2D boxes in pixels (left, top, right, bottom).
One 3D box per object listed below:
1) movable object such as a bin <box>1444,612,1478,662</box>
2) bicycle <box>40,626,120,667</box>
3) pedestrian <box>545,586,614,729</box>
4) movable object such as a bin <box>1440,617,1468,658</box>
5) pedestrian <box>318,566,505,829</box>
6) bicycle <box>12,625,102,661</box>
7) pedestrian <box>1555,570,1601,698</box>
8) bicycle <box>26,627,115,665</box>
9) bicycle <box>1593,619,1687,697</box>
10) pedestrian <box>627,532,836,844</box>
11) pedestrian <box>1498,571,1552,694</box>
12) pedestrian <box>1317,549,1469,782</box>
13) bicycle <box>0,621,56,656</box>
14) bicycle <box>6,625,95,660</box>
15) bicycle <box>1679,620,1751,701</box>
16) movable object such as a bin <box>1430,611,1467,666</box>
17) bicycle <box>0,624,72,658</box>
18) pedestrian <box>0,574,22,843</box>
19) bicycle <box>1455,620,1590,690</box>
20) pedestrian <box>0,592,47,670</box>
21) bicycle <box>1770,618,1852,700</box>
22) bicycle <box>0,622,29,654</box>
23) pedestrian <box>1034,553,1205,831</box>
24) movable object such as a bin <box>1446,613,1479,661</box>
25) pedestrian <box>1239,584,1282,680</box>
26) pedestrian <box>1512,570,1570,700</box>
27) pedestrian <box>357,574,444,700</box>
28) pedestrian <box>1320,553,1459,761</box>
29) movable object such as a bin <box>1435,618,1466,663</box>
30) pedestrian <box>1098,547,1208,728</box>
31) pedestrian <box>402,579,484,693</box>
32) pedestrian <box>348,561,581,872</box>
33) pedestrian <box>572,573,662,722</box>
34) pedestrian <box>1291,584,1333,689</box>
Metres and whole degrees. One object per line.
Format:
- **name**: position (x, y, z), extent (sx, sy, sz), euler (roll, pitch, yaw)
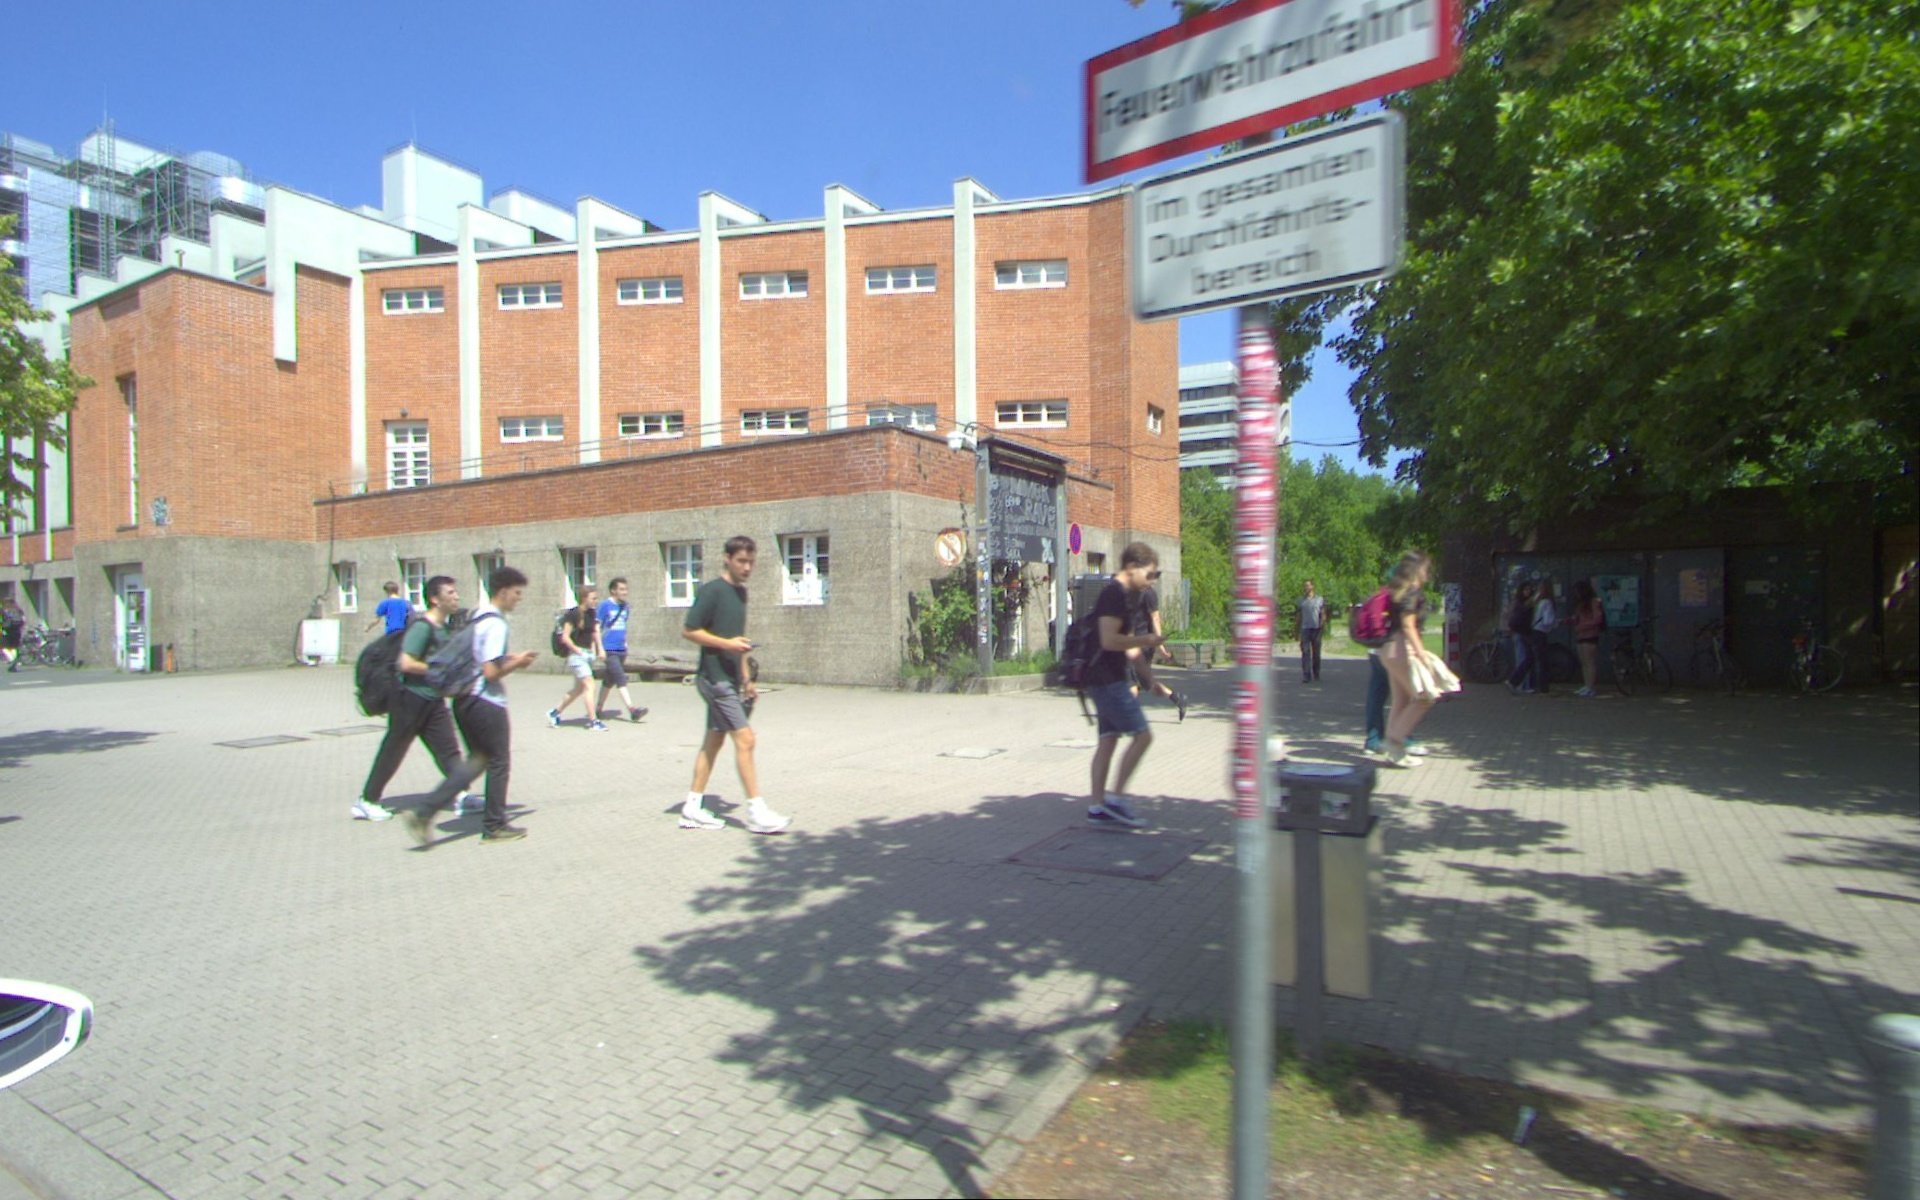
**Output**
- **movable object such as a bin**: position (13.660, 1.003, 27.275), extent (0.756, 1.337, 0.781), euler (1, 0, 32)
- **bicycle**: position (-23.959, 1.257, 27.286), extent (0.552, 1.047, 1.532), euler (0, 0, 31)
- **pedestrian**: position (-4.511, 0.673, 11.896), extent (0.561, 1.652, 0.502), euler (-1, 0, 21)
- **movable object such as a bin**: position (16.453, 1.233, 33.322), extent (0.756, 1.337, 0.781), euler (1, 0, 32)
- **pedestrian**: position (-3.840, 0.645, 7.094), extent (0.976, 1.743, 0.702), euler (-1, 1, -14)
- **bicycle**: position (-25.585, 1.199, 28.409), extent (0.552, 0.924, 1.806), euler (0, 1, 31)
- **pedestrian**: position (9.404, 0.511, 15.236), extent (0.523, 1.907, 0.445), euler (0, 0, 42)
- **bicycle**: position (-24.952, 1.271, 28.133), extent (0.551, 0.991, 1.781), euler (0, 0, 30)
- **bicycle**: position (10.396, 0.840, 15.267), extent (0.775, 1.085, 2.382), euler (-1, -1, 44)
- **pedestrian**: position (-1.455, 0.540, 6.530), extent (1.095, 1.884, 0.854), euler (0, 0, 7)
- **pedestrian**: position (8.954, 0.510, 15.883), extent (0.548, 1.908, 0.529), euler (-2, 1, 4)
- **pedestrian**: position (3.362, 0.475, 7.748), extent (0.935, 1.660, 0.873), euler (-2, 1, 31)
- **bicycle**: position (-28.844, 1.174, 30.512), extent (0.552, 0.998, 1.806), euler (0, 1, 31)
- **bicycle**: position (-26.180, 1.204, 28.868), extent (0.552, 0.924, 1.806), euler (0, 1, 31)
- **bicycle**: position (11.121, 0.846, 14.730), extent (0.773, 1.085, 2.387), euler (-1, -1, 38)
- **movable object such as a bin**: position (12.224, 0.953, 25.037), extent (0.756, 1.337, 0.781), euler (1, 0, 32)
- **bicycle**: position (-27.427, 1.199, 29.495), extent (0.552, 0.924, 1.806), euler (0, 1, 31)
- **pedestrian**: position (-6.703, 0.717, 6.325), extent (0.893, 1.763, 0.676), euler (-1, 1, -20)
- **bicycle**: position (9.695, 0.919, 17.309), extent (1.997, 1.155, 0.572), euler (-1, -1, 32)
- **pedestrian**: position (-23.131, 0.752, 24.590), extent (1.100, 1.884, 0.788), euler (0, 0, 33)
- **bicycle**: position (12.226, 0.821, 14.355), extent (0.775, 1.085, 2.383), euler (-1, -2, 43)
- **bicycle**: position (-30.537, 1.215, 31.445), extent (0.552, 0.998, 1.806), euler (0, 1, 31)
- **pedestrian**: position (0.978, 0.530, 6.305), extent (0.815, 1.617, 0.849), euler (-1, 1, -12)
- **movable object such as a bin**: position (14.339, 1.054, 28.567), extent (0.756, 1.337, 0.781), euler (1, 0, 32)
- **pedestrian**: position (5.749, 0.592, 19.160), extent (0.718, 1.763, 0.833), euler (1, 4, 20)
- **pedestrian**: position (8.756, 0.518, 15.096), extent (0.521, 1.907, 0.556), euler (0, 0, -29)
- **pedestrian**: position (-8.816, 0.554, 15.786), extent (0.977, 1.918, 0.701), euler (0, 3, 24)
- **pedestrian**: position (3.693, 0.473, 8.594), extent (0.935, 1.659, 0.874), euler (-3, -1, 31)
- **movable object such as a bin**: position (14.924, 1.217, 30.480), extent (0.756, 1.337, 0.781), euler (1, 0, 32)
- **pedestrian**: position (2.136, 0.413, 11.031), extent (1.057, 1.892, 0.762), euler (-2, 0, 18)
- **pedestrian**: position (-8.626, 0.581, 16.723), extent (0.978, 1.828, 0.701), euler (0, 3, 26)
- **pedestrian**: position (-3.079, 0.644, 6.247), extent (1.096, 1.740, 0.704), euler (-4, 3, -40)
- **pedestrian**: position (-4.298, 0.573, 12.578), extent (0.739, 1.812, 0.708), euler (-1, 2, 21)
- **pedestrian**: position (6.561, 0.666, 18.671), extent (0.718, 1.908, 0.834), euler (0, 0, 20)
